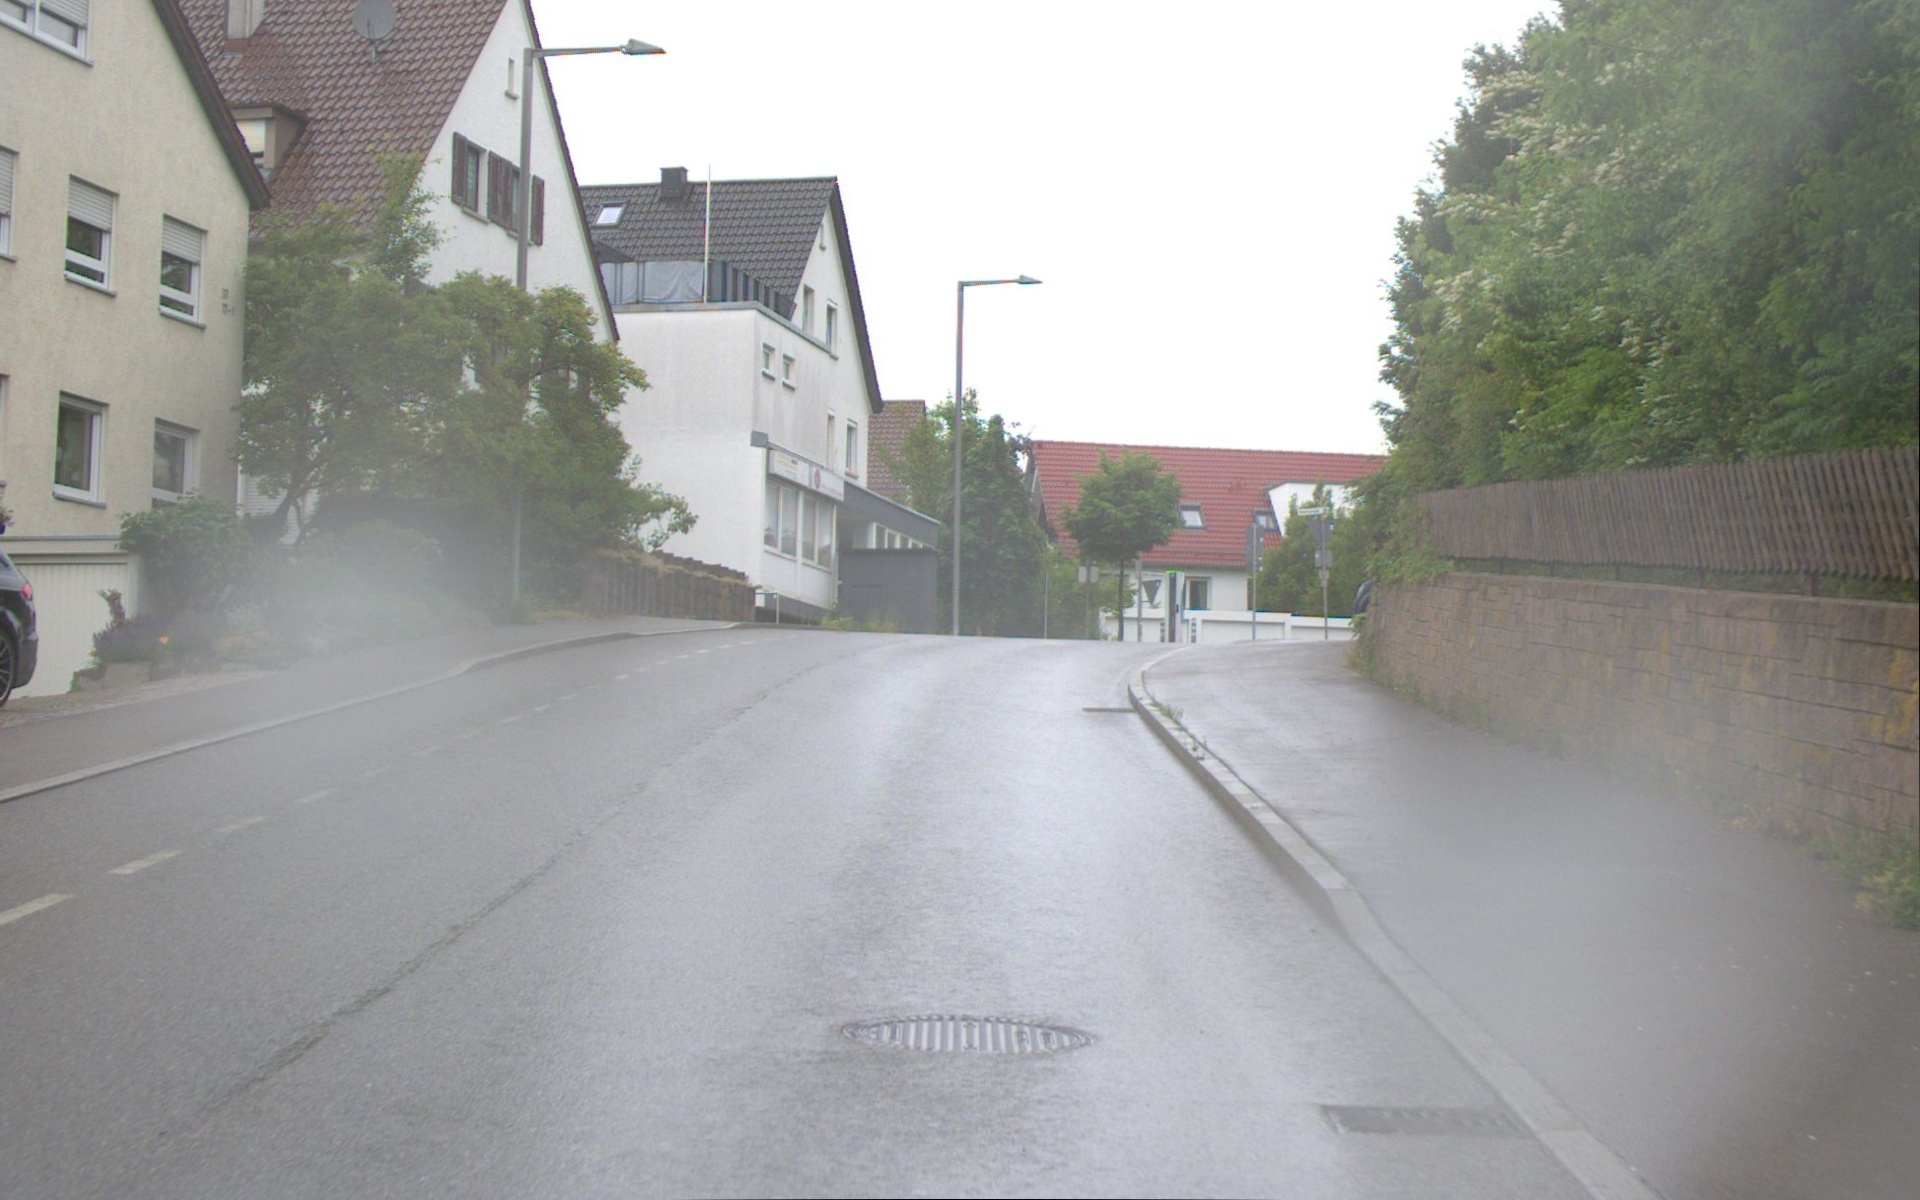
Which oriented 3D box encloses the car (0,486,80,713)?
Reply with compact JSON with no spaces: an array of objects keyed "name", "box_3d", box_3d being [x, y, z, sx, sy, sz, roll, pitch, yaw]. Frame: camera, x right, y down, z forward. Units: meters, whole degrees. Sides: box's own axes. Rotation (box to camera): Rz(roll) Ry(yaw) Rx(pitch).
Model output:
[{"name":"car","box_3d":[-8.243,-0.003,23.999,1.975,1.653,4.960,1,1,13]}]
